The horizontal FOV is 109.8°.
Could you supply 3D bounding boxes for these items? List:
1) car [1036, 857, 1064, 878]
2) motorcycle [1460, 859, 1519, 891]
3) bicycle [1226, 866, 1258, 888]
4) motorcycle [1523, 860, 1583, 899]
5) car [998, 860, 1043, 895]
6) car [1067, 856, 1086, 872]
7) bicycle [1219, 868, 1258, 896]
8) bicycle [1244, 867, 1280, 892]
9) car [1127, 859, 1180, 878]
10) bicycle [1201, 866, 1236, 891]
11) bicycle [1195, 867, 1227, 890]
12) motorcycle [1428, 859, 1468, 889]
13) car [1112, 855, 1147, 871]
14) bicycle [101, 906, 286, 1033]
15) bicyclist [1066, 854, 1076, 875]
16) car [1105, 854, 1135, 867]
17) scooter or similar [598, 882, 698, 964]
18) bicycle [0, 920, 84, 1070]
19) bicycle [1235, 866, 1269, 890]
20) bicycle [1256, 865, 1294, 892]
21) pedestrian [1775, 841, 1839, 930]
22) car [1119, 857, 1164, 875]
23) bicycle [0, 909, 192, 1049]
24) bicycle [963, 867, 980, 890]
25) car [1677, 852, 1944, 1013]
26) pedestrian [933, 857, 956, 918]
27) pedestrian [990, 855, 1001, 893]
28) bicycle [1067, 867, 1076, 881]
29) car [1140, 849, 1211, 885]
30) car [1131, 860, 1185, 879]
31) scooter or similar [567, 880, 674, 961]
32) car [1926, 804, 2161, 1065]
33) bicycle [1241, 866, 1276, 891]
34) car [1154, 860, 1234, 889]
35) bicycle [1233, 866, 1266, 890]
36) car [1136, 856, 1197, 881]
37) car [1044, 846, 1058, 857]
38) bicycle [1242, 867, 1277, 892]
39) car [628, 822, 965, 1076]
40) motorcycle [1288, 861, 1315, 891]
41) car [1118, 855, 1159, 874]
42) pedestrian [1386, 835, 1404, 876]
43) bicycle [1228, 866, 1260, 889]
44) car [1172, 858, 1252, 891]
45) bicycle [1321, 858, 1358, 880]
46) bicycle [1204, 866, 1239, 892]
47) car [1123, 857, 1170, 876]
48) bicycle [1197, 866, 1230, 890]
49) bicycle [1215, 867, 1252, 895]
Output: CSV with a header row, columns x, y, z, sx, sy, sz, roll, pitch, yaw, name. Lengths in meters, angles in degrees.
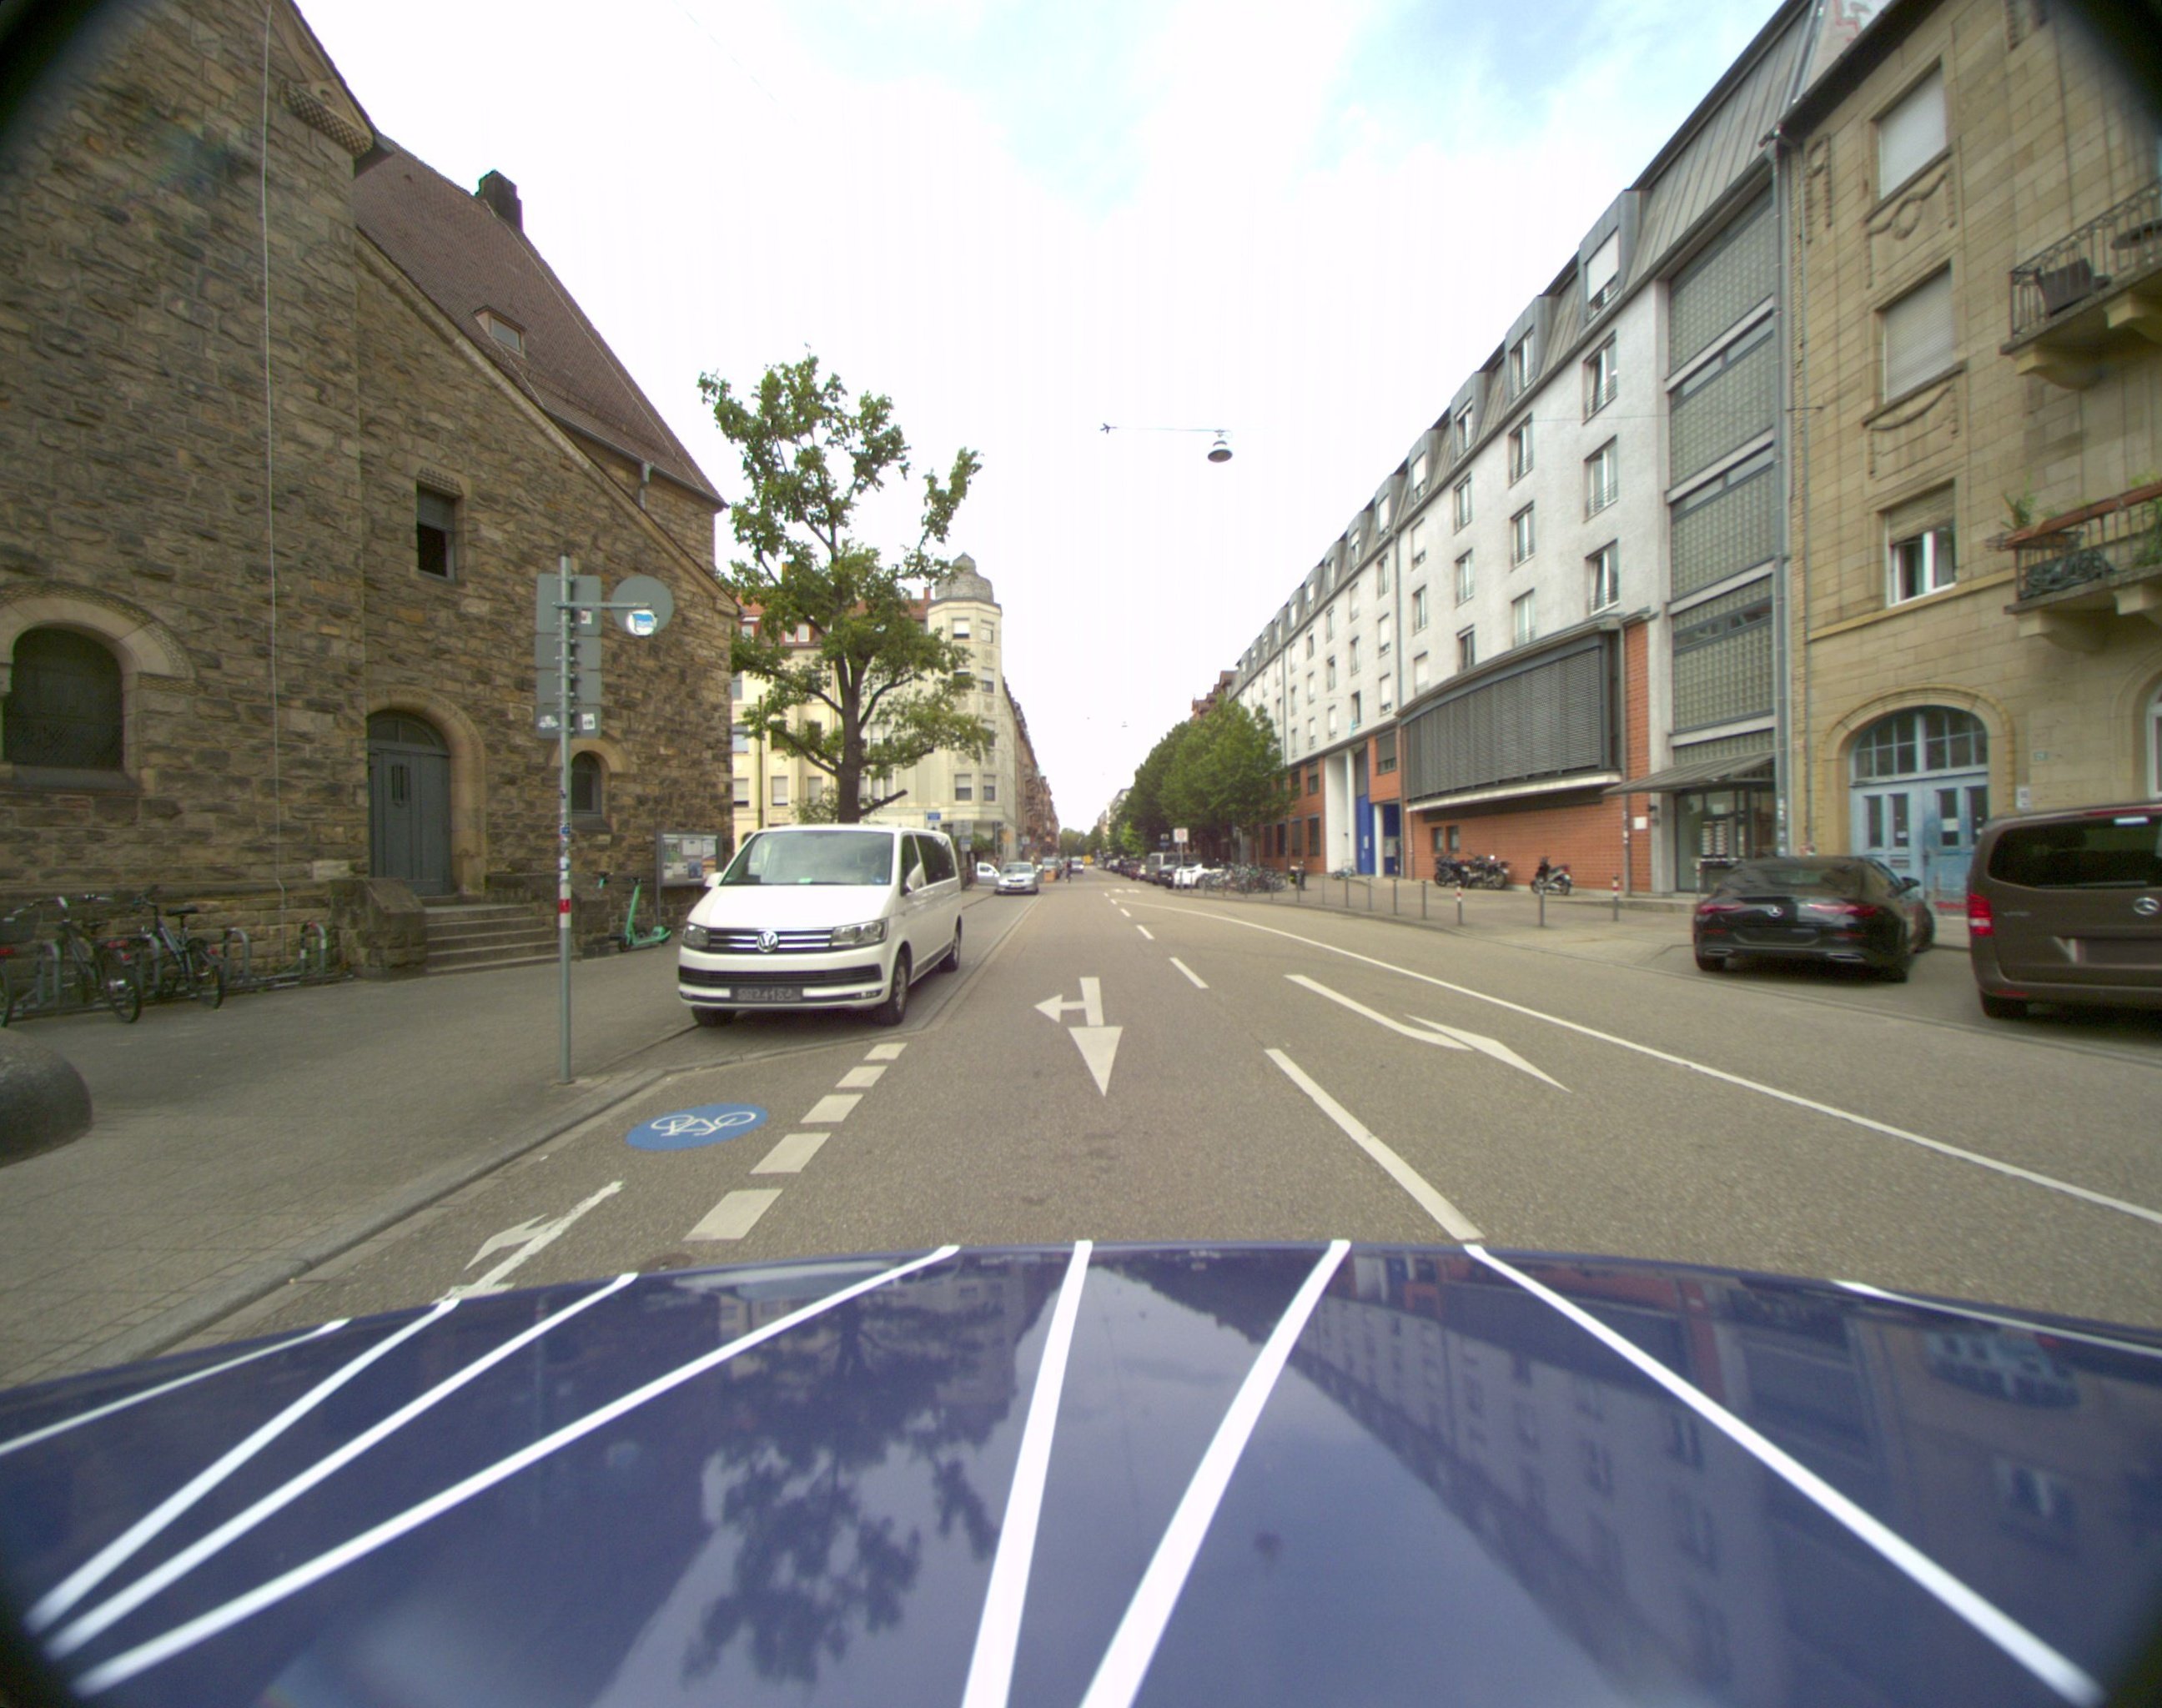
x,y,z,sx,sy,sz,roll,pitch,yaw,name
-2.547,1.123,62.577,1.853,1.661,4.007,-2,-1,4,car
13.778,0.698,25.700,0.585,1.042,1.965,-3,0,-12,motorcycle
7.669,1.092,36.229,1.409,1.020,0.402,-2,0,2,bicycle
13.621,0.720,21.996,0.585,1.042,1.793,-3,0,0,motorcycle
-2.659,1.030,34.327,1.760,1.459,4.418,-1,0,-2,car
-0.559,1.189,92.787,1.942,1.913,4.007,-2,-1,4,car
6.340,1.125,30.616,1.409,1.032,0.402,-4,0,2,bicycle
7.653,1.082,32.144,1.409,1.020,0.402,-2,0,2,bicycle
5.804,1.144,60.838,4.013,1.445,1.687,-1,-1,-34,car
6.175,1.111,34.149,1.409,1.020,0.402,-4,0,2,bicycle
6.176,1.170,36.230,1.409,1.020,0.402,-4,0,2,bicycle
13.570,0.715,28.116,0.585,1.042,1.657,-3,0,-2,motorcycle
5.823,1.101,91.082,4.013,1.846,1.687,-1,-1,-34,car
-8.744,1.096,7.484,1.778,1.105,0.547,-1,0,18,bicycle
-0.680,0.724,52.296,0.649,1.408,1.094,-1,0,1,bicyclist
5.653,0.936,109.191,4.013,1.746,1.687,-1,-1,-34,car
-6.933,1.068,12.232,0.545,1.200,1.444,0,0,13,scooter or similar
-9.158,1.125,6.284,1.778,1.105,0.547,-1,0,18,bicycle
7.637,1.077,33.983,1.409,1.020,0.402,-2,0,2,bicycle
7.869,0.998,30.902,1.409,1.020,0.402,-2,0,2,bicycle
12.443,0.527,13.031,0.662,1.477,0.508,-1,0,-14,pedestrian
5.723,1.161,71.630,4.013,1.558,1.687,-1,-1,-34,car
-8.939,1.082,6.862,1.771,1.105,0.547,-1,0,18,bicycle
-5.364,1.179,37.290,0.523,1.099,1.978,-1,-1,1,bicycle
9.660,0.832,9.926,4.679,1.401,1.895,-4,0,-39,car
-3.900,0.933,21.648,0.510,1.709,0.530,-1,0,-23,pedestrian
-3.847,0.903,34.185,0.468,1.725,0.410,0,0,-1,pedestrian
-0.649,1.350,52.290,0.586,0.927,1.783,-2,-1,0,bicycle
5.902,0.777,47.428,4.012,1.986,1.857,-3,1,-31,car
5.938,1.202,58.626,4.013,1.381,1.592,-1,-1,-34,car
-7.549,1.057,12.523,0.545,1.200,1.483,0,0,19,scooter or similar
9.969,0.553,7.093,5.280,1.898,2.116,-1,0,-35,car
7.732,1.068,33.166,1.409,1.020,0.402,-2,0,2,bicycle
6.207,1.099,41.594,4.324,1.460,1.713,-1,0,-34,car
7.632,1.092,34.468,1.409,1.020,0.402,-2,0,2,bicycle
5.999,1.012,53.060,4.013,1.605,1.708,-1,-1,-34,car
-4.268,-0.338,107.510,1.854,1.505,4.006,-2,-1,-1,car
7.671,1.094,32.680,1.409,1.020,0.402,-2,0,2,bicycle
-2.650,0.738,8.616,2.020,2.017,5.122,0,1,-2,car
9.066,0.894,31.274,0.585,1.166,1.779,-3,0,1,motorcycle
5.921,1.068,77.959,4.052,1.846,1.687,-1,-1,-34,car
15.501,0.076,37.503,0.729,2.002,0.783,-1,0,19,pedestrian
7.674,1.089,35.753,1.409,1.020,0.402,-2,0,2,bicycle
6.784,1.030,39.235,4.012,1.536,1.599,-1,0,-31,car
13.306,0.781,39.149,1.613,0.920,0.932,-7,-1,11,bicycle
6.185,1.109,33.507,1.409,1.032,0.402,-4,0,2,bicycle
5.966,1.118,69.064,4.013,1.558,1.687,-1,-1,-34,car
6.176,1.110,35.422,1.409,1.020,0.402,-4,0,2,bicycle
6.323,1.114,31.507,1.409,1.032,0.402,-4,0,2,bicycle
